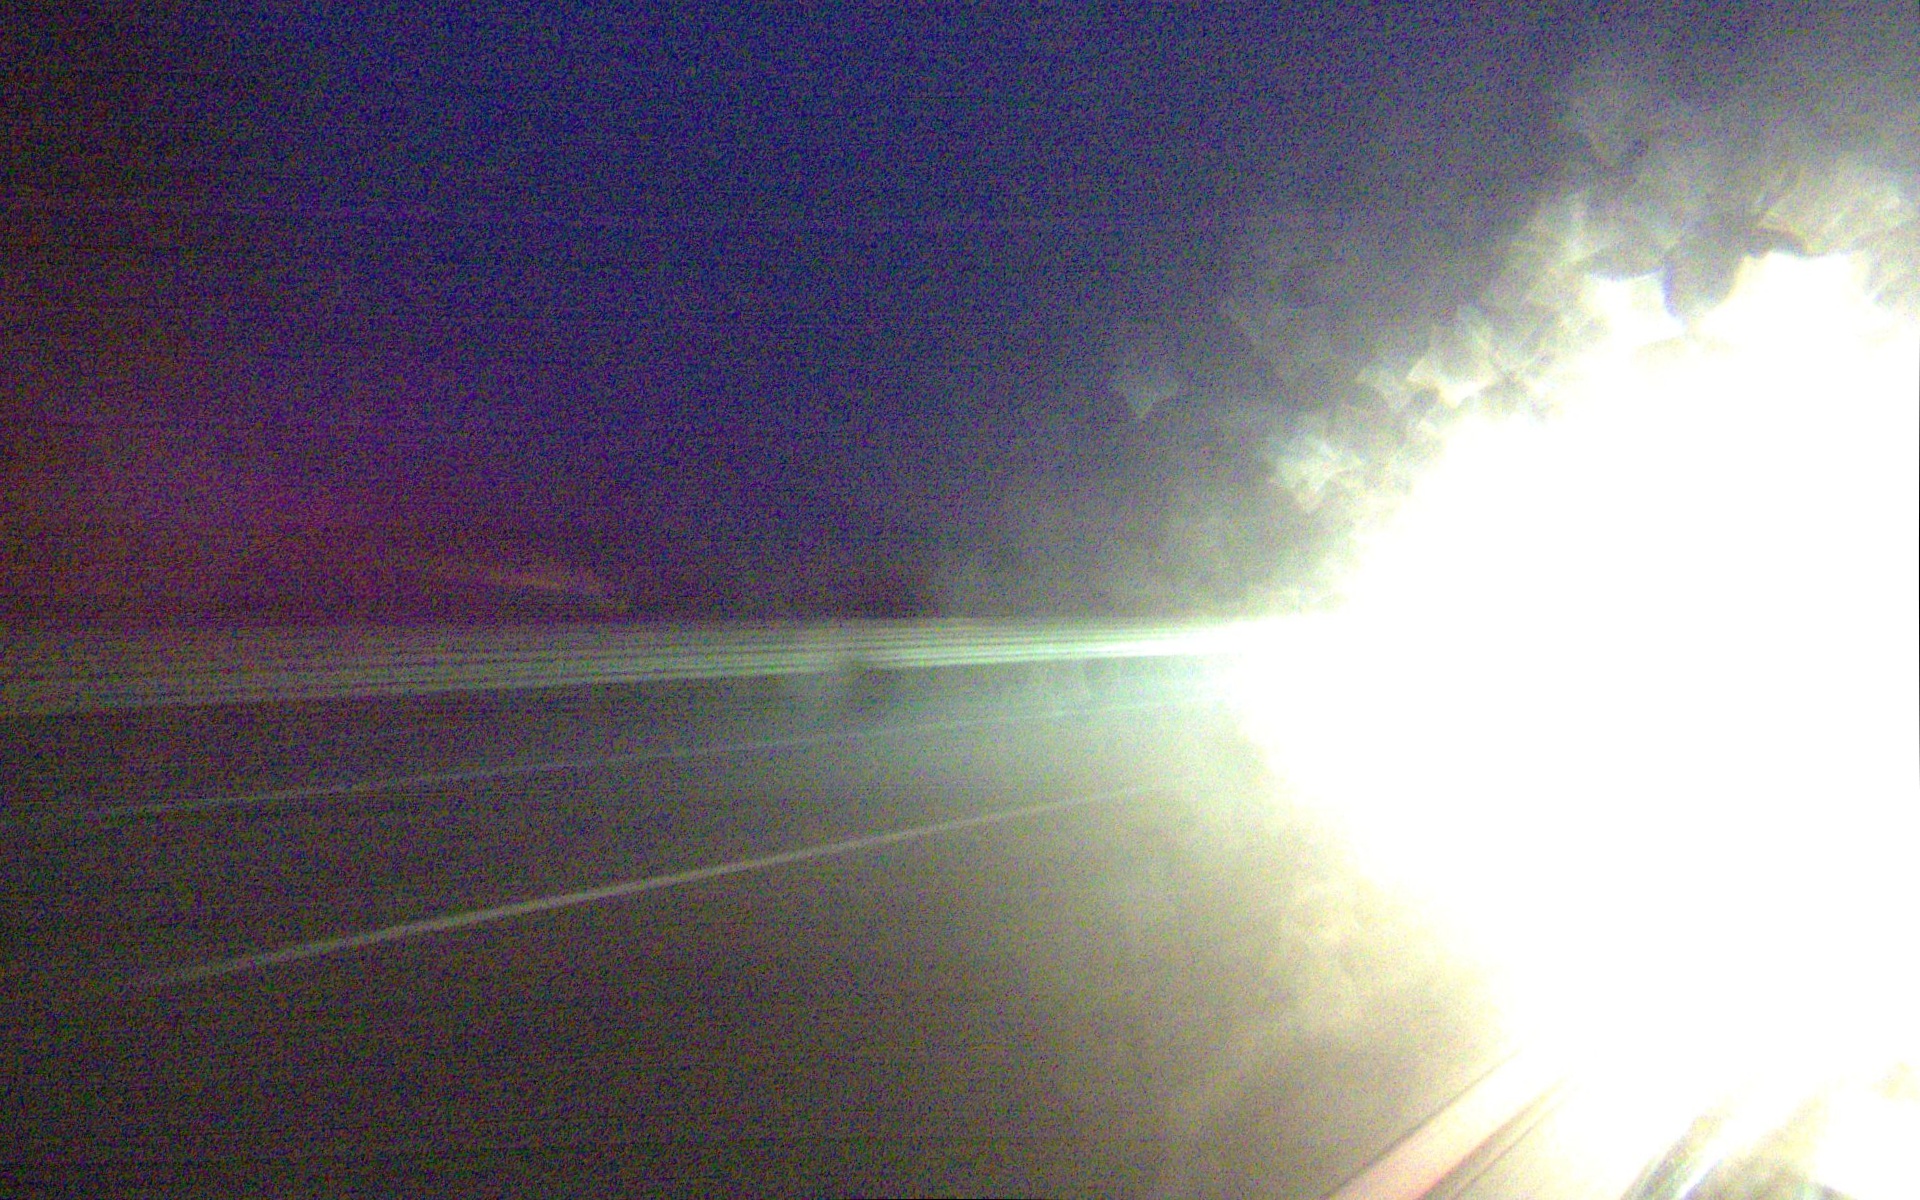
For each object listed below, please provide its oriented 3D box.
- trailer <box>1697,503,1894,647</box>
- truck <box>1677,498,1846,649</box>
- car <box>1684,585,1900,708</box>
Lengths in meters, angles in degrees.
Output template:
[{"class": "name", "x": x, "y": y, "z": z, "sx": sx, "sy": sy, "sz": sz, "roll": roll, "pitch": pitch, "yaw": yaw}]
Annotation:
[{"class": "trailer", "x": 29.306, "y": -0.679, "z": 35.068, "sx": 14.233, "sy": 4.160, "sz": 2.909, "roll": 1, "pitch": 1, "yaw": -41}, {"class": "truck", "x": 24.535, "y": -0.741, "z": 30.896, "sx": 5.925, "sy": 4.160, "sz": 2.909, "roll": 1, "pitch": 1, "yaw": -41}, {"class": "car", "x": 12.655, "y": 0.609, "z": 15.297, "sx": 4.414, "sy": 1.595, "sz": 1.744, "roll": 1, "pitch": 0, "yaw": -40}]
